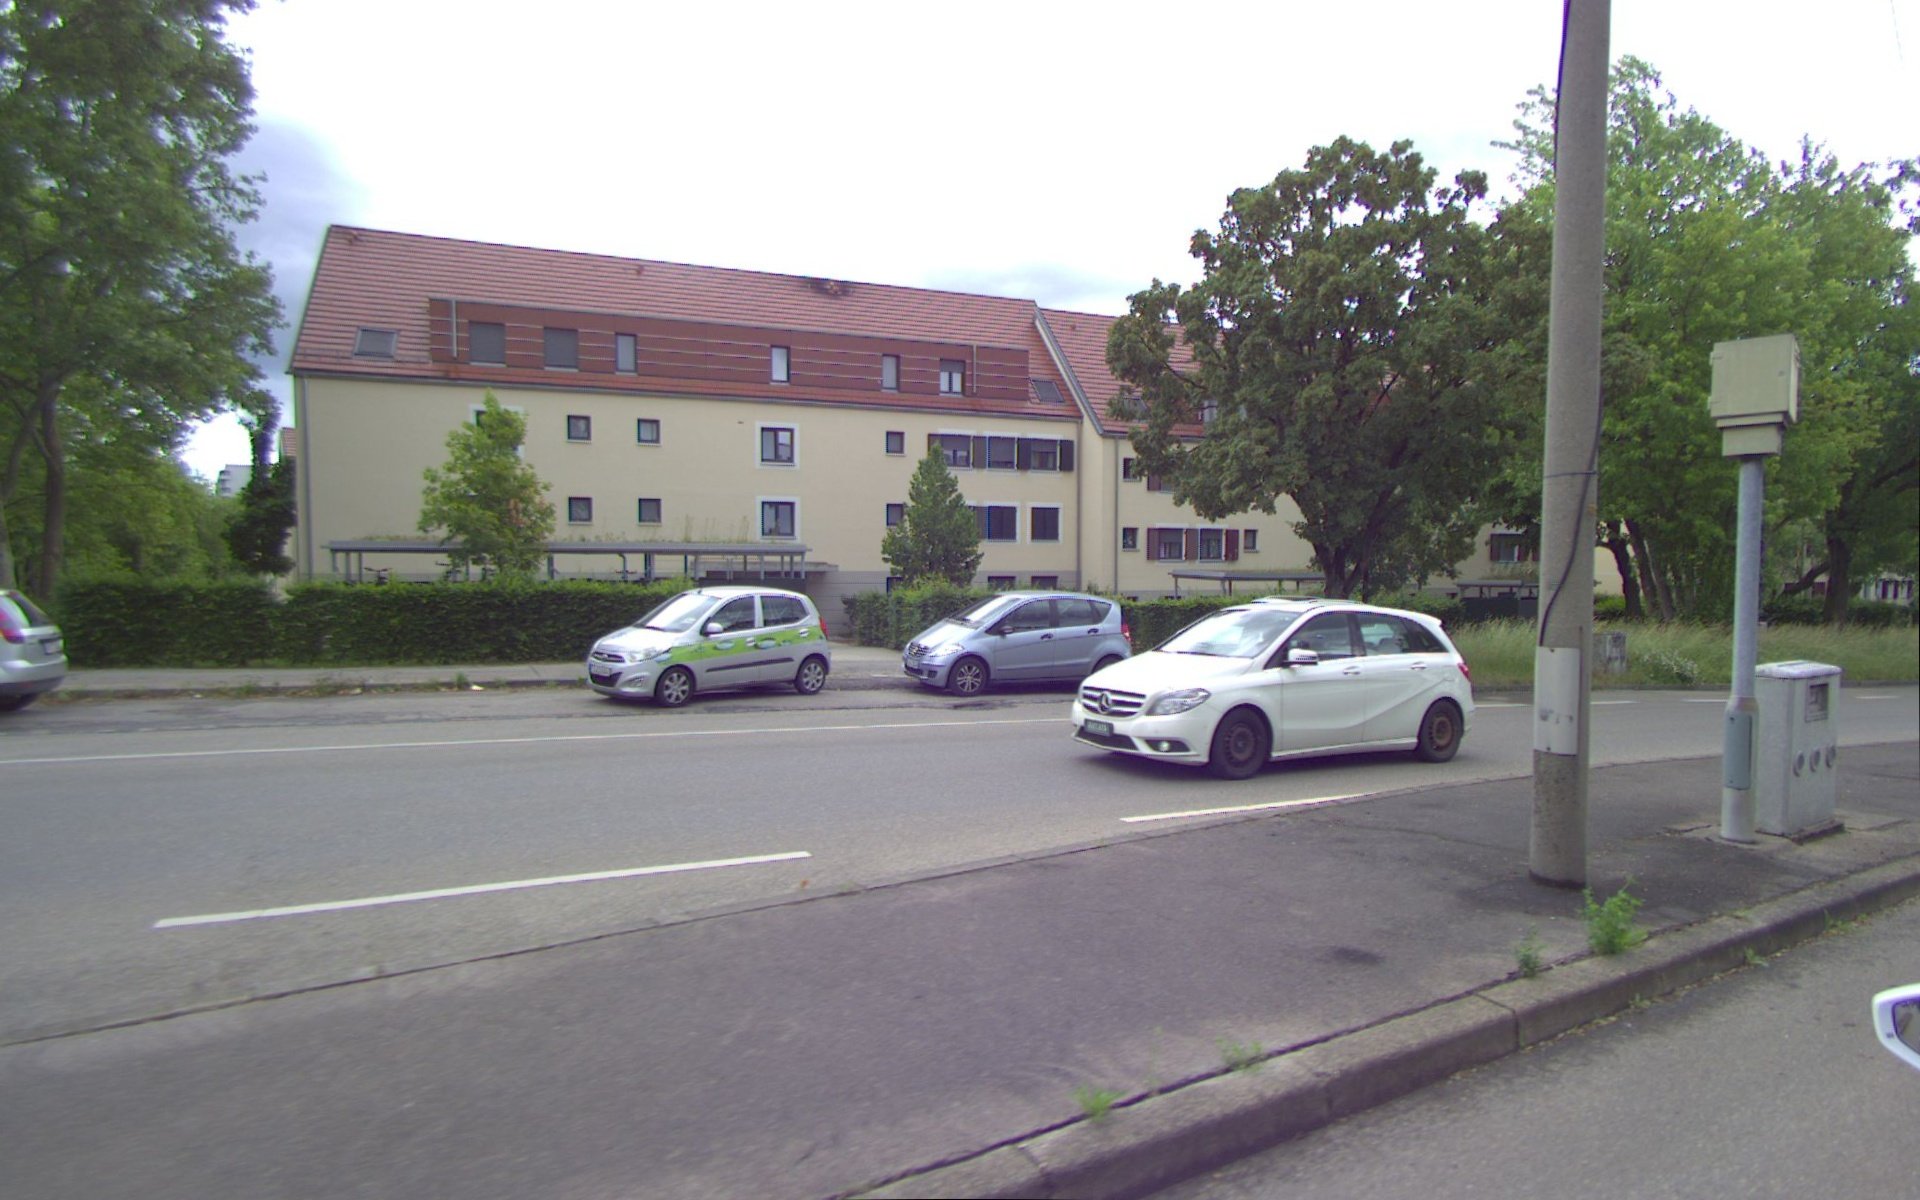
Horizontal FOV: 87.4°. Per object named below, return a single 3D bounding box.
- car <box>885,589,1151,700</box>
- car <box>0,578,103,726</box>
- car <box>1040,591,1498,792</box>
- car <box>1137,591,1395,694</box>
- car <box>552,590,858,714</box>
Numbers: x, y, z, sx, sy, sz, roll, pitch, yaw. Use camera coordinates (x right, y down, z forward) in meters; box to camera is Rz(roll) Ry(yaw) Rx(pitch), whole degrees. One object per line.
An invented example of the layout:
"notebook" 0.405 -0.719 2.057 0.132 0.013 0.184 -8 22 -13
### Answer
"car" 0.948 0.701 16.573 3.943 1.618 1.870 1 1 -23
"car" -11.727 0.503 10.439 3.951 1.527 1.867 1 1 -29
"car" 3.117 0.817 9.993 4.286 1.591 1.867 2 1 -29
"car" 5.630 0.761 18.502 4.328 1.689 1.870 2 1 -23
"car" -3.566 0.657 14.585 1.853 1.527 3.980 2 1 41
